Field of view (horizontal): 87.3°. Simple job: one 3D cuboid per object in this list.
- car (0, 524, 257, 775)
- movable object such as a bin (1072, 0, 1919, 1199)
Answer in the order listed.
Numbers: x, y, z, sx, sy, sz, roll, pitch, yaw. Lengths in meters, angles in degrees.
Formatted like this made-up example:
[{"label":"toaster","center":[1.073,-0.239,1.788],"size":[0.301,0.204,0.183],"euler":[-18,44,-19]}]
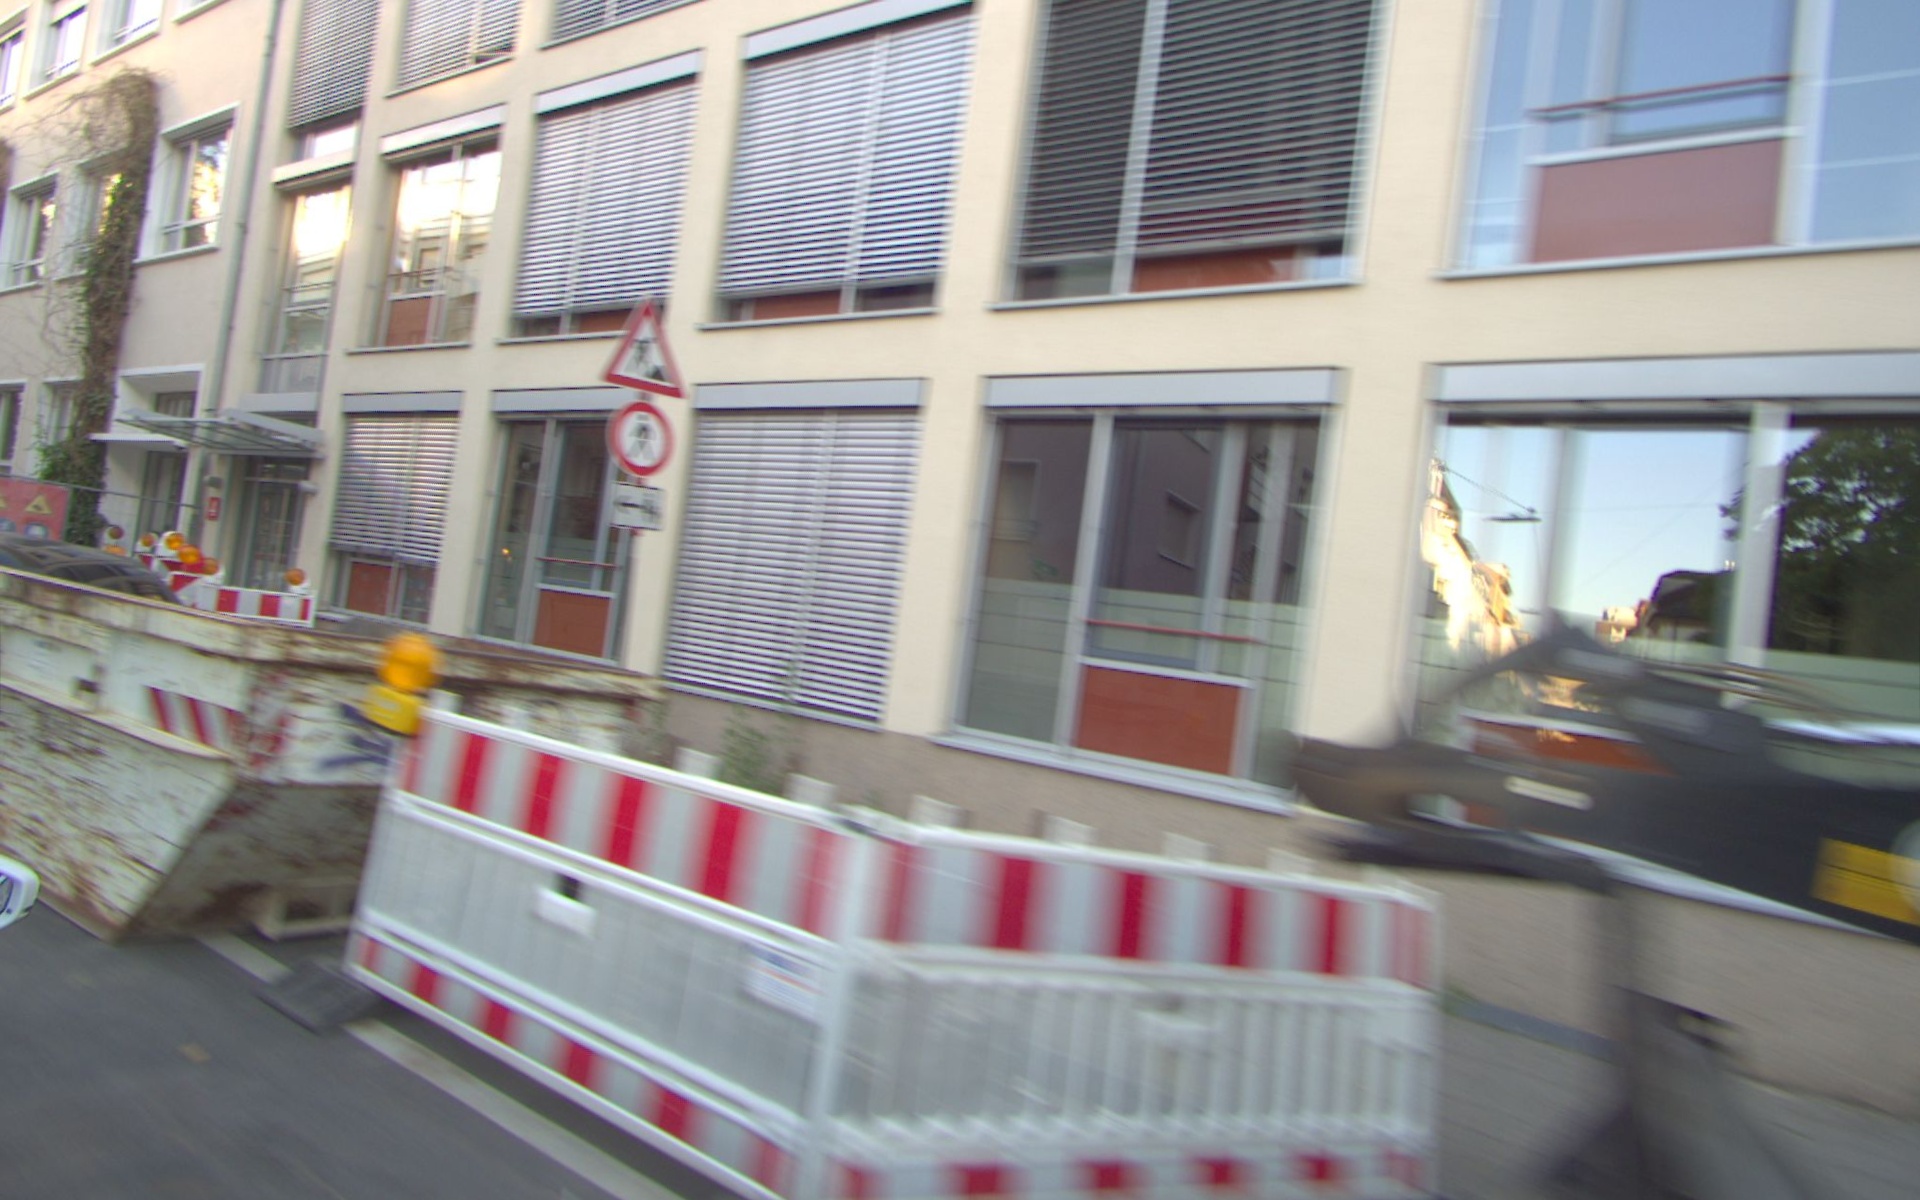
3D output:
[{"label":"car","center":[-7.177,0.148,7.289],"size":[4.405,1.421,1.698],"euler":[6,-3,32]},{"label":"movable object such as a bin","center":[3.143,0.688,1.287],"size":[5.451,2.625,2.171],"euler":[6,-2,32]}]
